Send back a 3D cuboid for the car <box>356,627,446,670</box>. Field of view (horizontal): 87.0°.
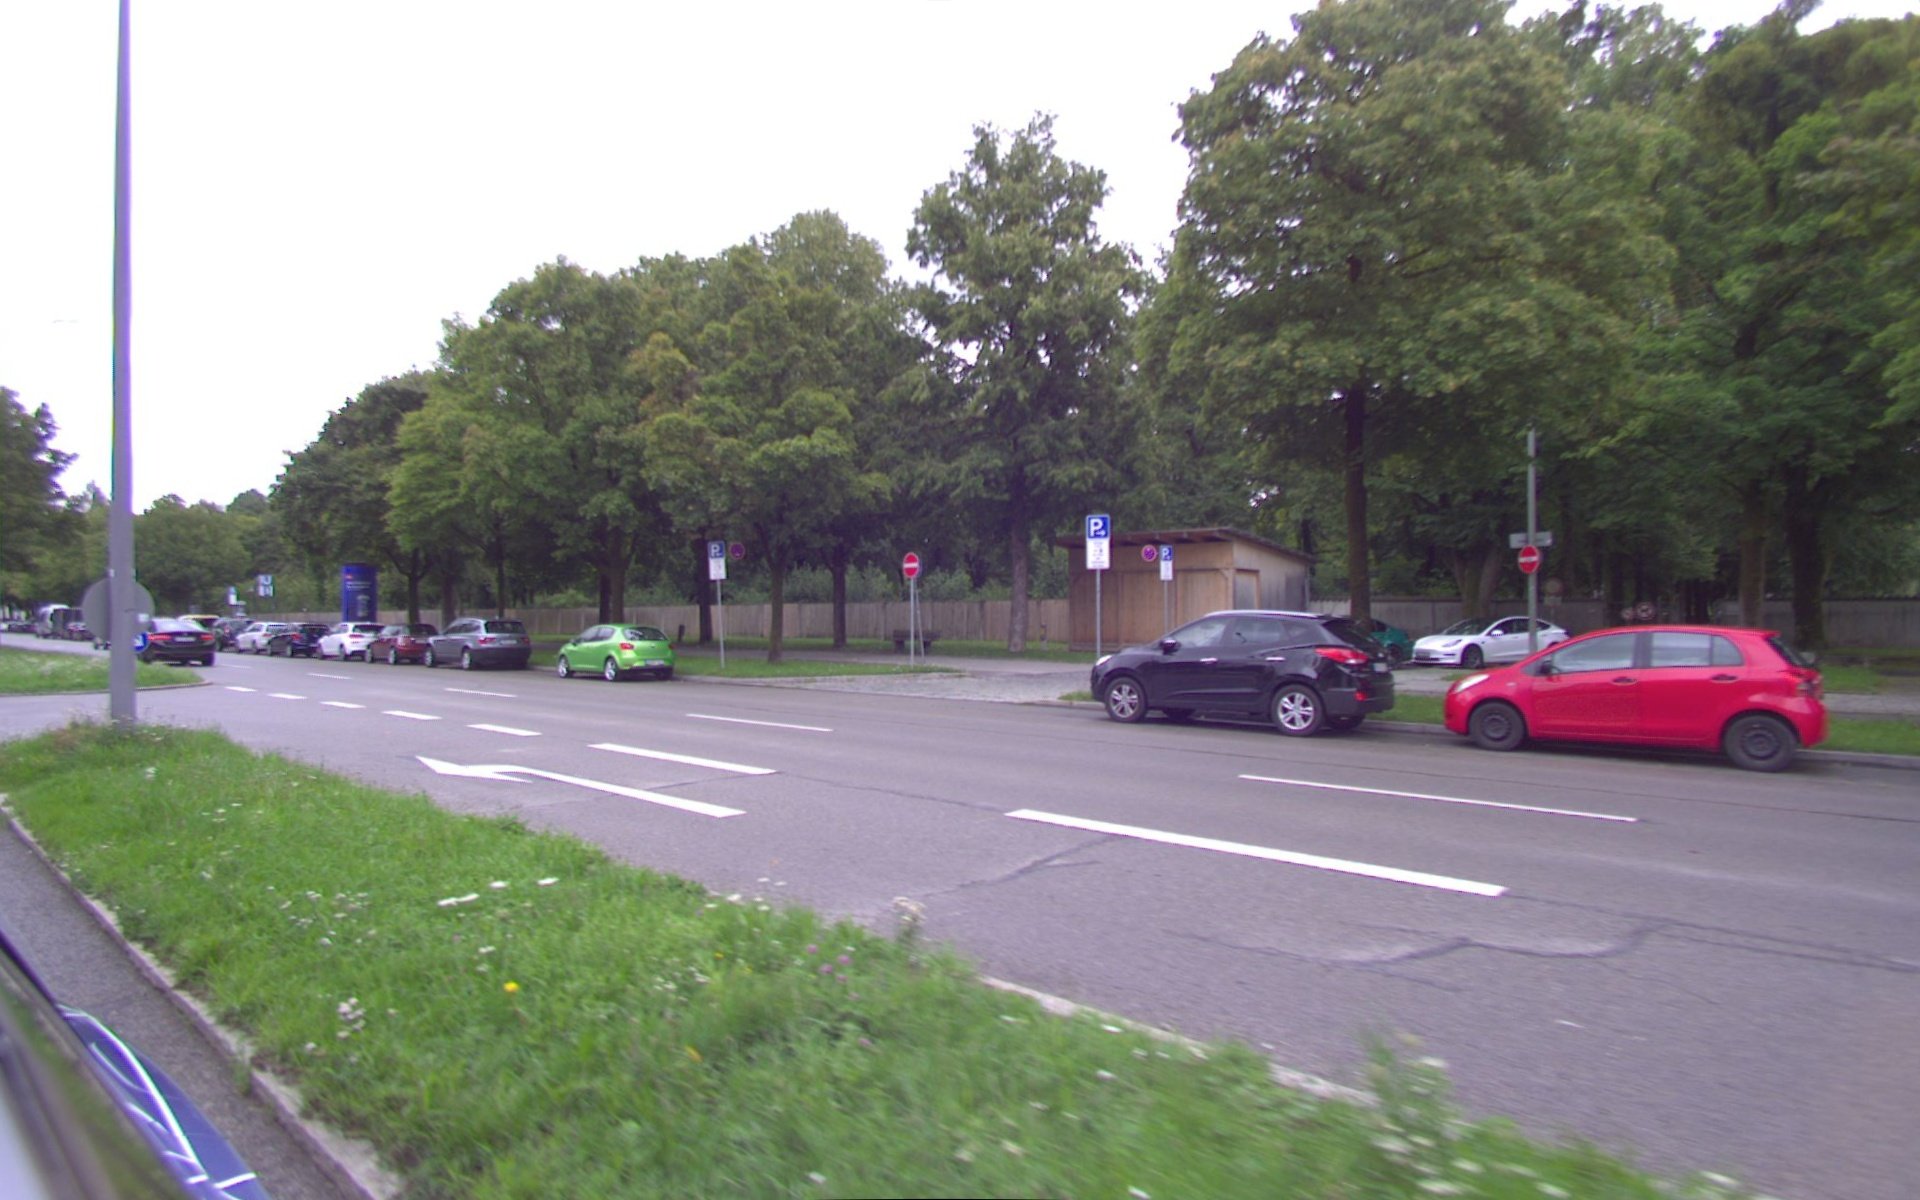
[{"bbox_3d":[-19.687,1.683,35.576,3.686,1.433,1.632,-1,-4,42],"label":"car"}]

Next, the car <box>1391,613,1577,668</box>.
[{"bbox_3d":[14.512,1.090,28.111,4.394,1.420,1.864,0,-1,-13],"label":"car"}]

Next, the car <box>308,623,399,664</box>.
[{"bbox_3d":[-23.501,1.682,39.175,4.258,1.488,1.802,-1,-4,42],"label":"car"}]

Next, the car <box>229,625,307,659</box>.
[{"bbox_3d":[-31.760,1.915,46.435,4.296,1.481,1.803,-1,-3,39],"label":"car"}]

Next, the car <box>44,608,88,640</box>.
[{"bbox_3d":[-74.090,2.009,83.886,4.495,2.611,1.974,-1,-3,39],"label":"car"}]

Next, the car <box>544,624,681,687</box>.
[{"bbox_3d":[-9.047,1.390,26.225,3.999,1.511,1.622,-2,-3,42],"label":"car"}]

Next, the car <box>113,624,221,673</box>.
[{"bbox_3d":[-25.429,1.494,32.399,4.779,1.459,1.797,-1,-2,41],"label":"car"}]

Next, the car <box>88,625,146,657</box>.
[{"bbox_3d":[-42.792,2.044,51.347,3.720,1.565,1.802,-1,-1,43],"label":"car"}]

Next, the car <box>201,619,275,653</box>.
[{"bbox_3d":[-36.076,1.807,50.550,4.037,1.628,1.982,-1,-3,39],"label":"car"}]

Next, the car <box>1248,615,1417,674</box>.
[{"bbox_3d":[9.771,1.133,26.627,3.793,1.420,1.865,0,-1,-17],"label":"car"}]

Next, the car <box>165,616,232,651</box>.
[{"bbox_3d":[-41.020,1.805,54.493,4.529,1.784,1.839,-1,-3,39],"label":"car"}]

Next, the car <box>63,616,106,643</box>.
[{"bbox_3d":[-68.344,2.309,78.975,3.998,2.029,1.973,-1,-1,41],"label":"car"}]

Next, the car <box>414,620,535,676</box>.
[{"bbox_3d":[-15.293,1.462,31.790,4.454,1.643,1.802,-1,-2,41],"label":"car"}]

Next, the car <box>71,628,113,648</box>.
[{"bbox_3d":[-64.890,2.819,75.652,4.037,1.420,1.695,-1,-3,39],"label":"car"}]

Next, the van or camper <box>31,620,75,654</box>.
[{"bbox_3d":[-77.902,3.150,86.917,4.927,2.829,1.974,-1,-3,39],"label":"van or camper"}]

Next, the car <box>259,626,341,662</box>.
[{"bbox_3d":[-27.957,1.839,42.855,3.784,1.457,1.803,-1,-4,39],"label":"car"}]

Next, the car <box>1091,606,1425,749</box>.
[{"bbox_3d":[4.155,0.962,14.466,4.236,1.712,1.803,0,0,40],"label":"car"}]

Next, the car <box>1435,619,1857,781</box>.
[{"bbox_3d":[7.747,0.998,11.661,3.807,1.490,1.803,0,0,40],"label":"car"}]
